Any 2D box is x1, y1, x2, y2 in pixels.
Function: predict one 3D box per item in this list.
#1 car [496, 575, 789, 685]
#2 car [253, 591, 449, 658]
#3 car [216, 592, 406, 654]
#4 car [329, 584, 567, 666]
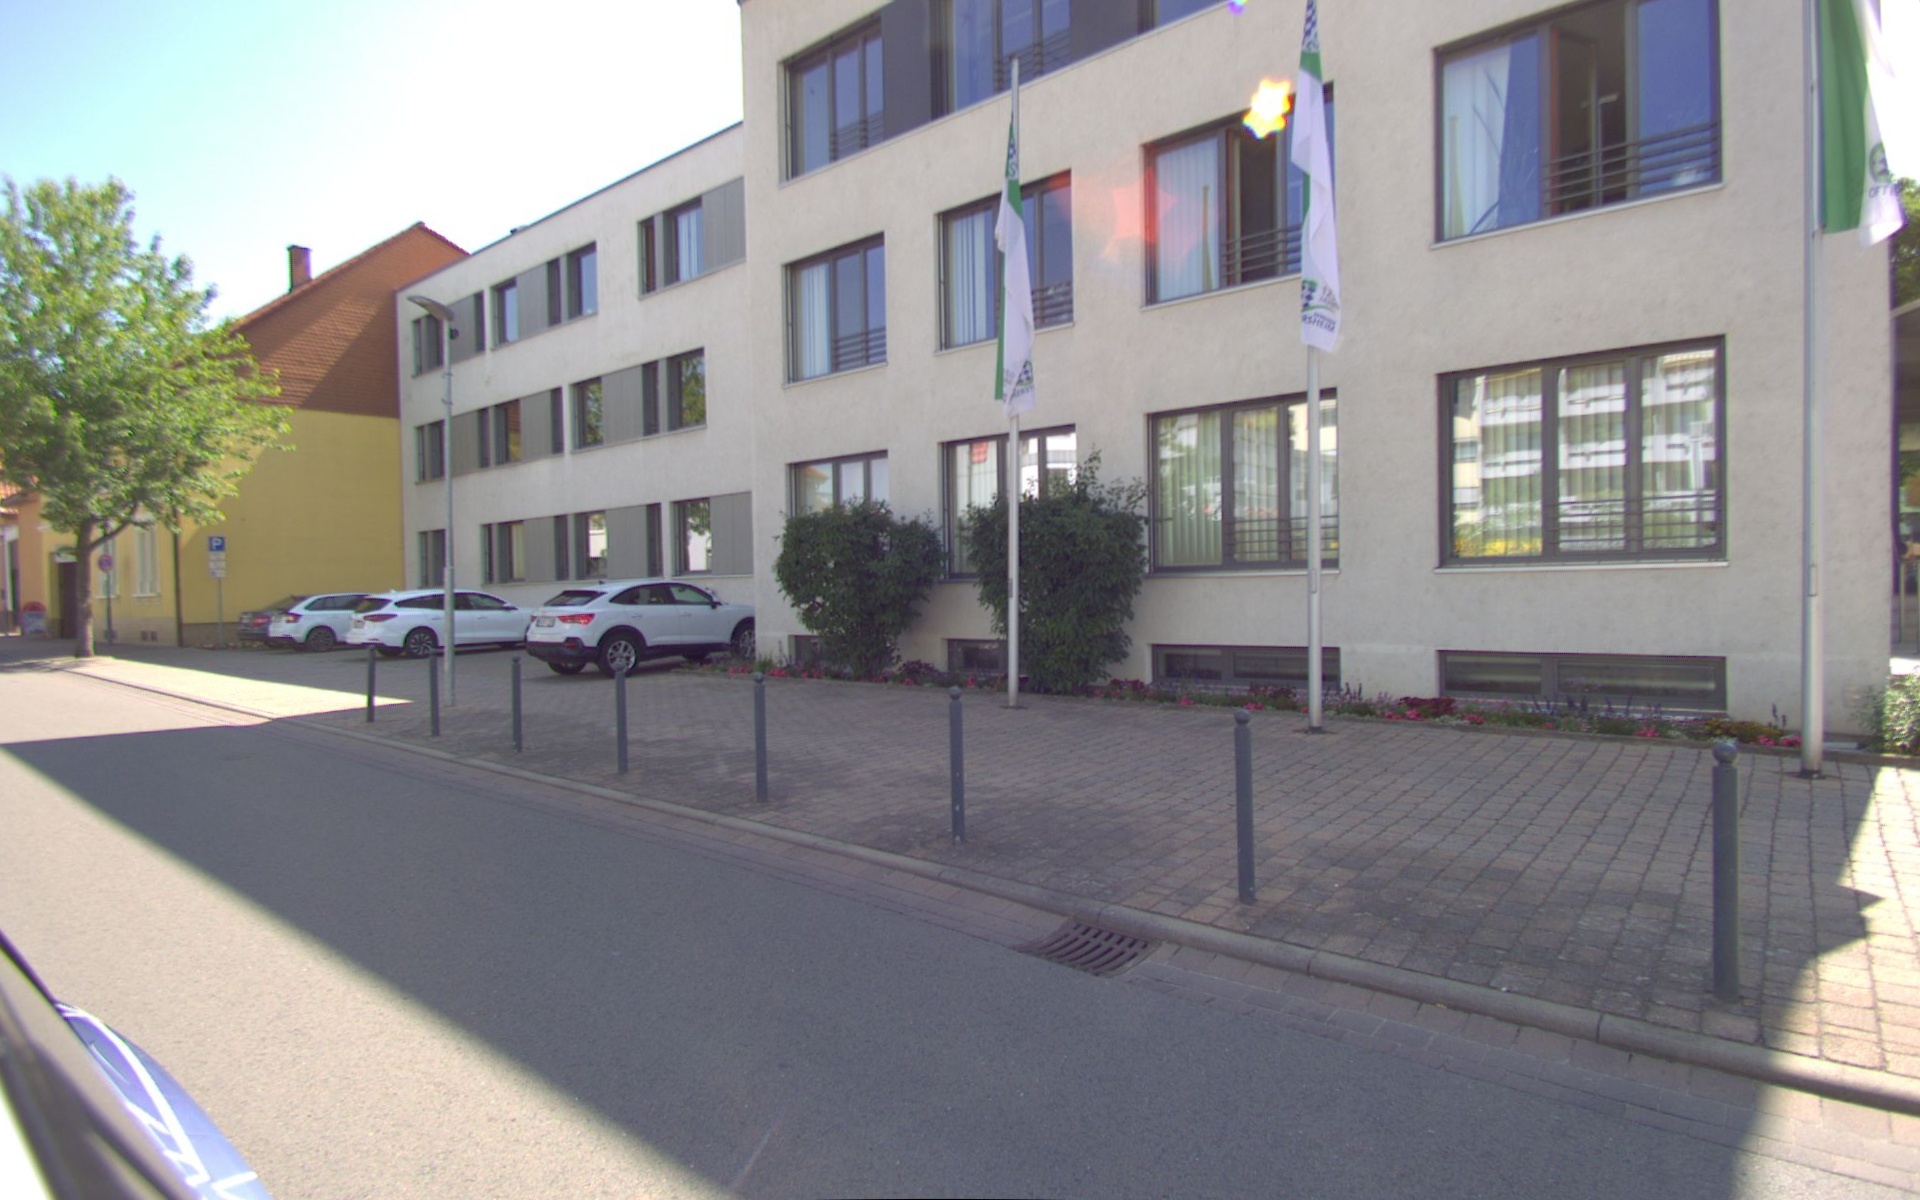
[{"bbox_3d":[-5.421,0.419,17.783,2.145,1.565,4.463,-1,2,38],"label":"car"},{"bbox_3d":[-15.715,0.584,26.265,1.806,1.462,3.947,-1,1,40],"label":"car"},{"bbox_3d":[-17.794,0.587,27.905,1.968,1.442,3.952,-2,2,36],"label":"car"},{"bbox_3d":[-11.643,0.485,23.270,1.933,1.565,4.459,1,3,40],"label":"car"}]
